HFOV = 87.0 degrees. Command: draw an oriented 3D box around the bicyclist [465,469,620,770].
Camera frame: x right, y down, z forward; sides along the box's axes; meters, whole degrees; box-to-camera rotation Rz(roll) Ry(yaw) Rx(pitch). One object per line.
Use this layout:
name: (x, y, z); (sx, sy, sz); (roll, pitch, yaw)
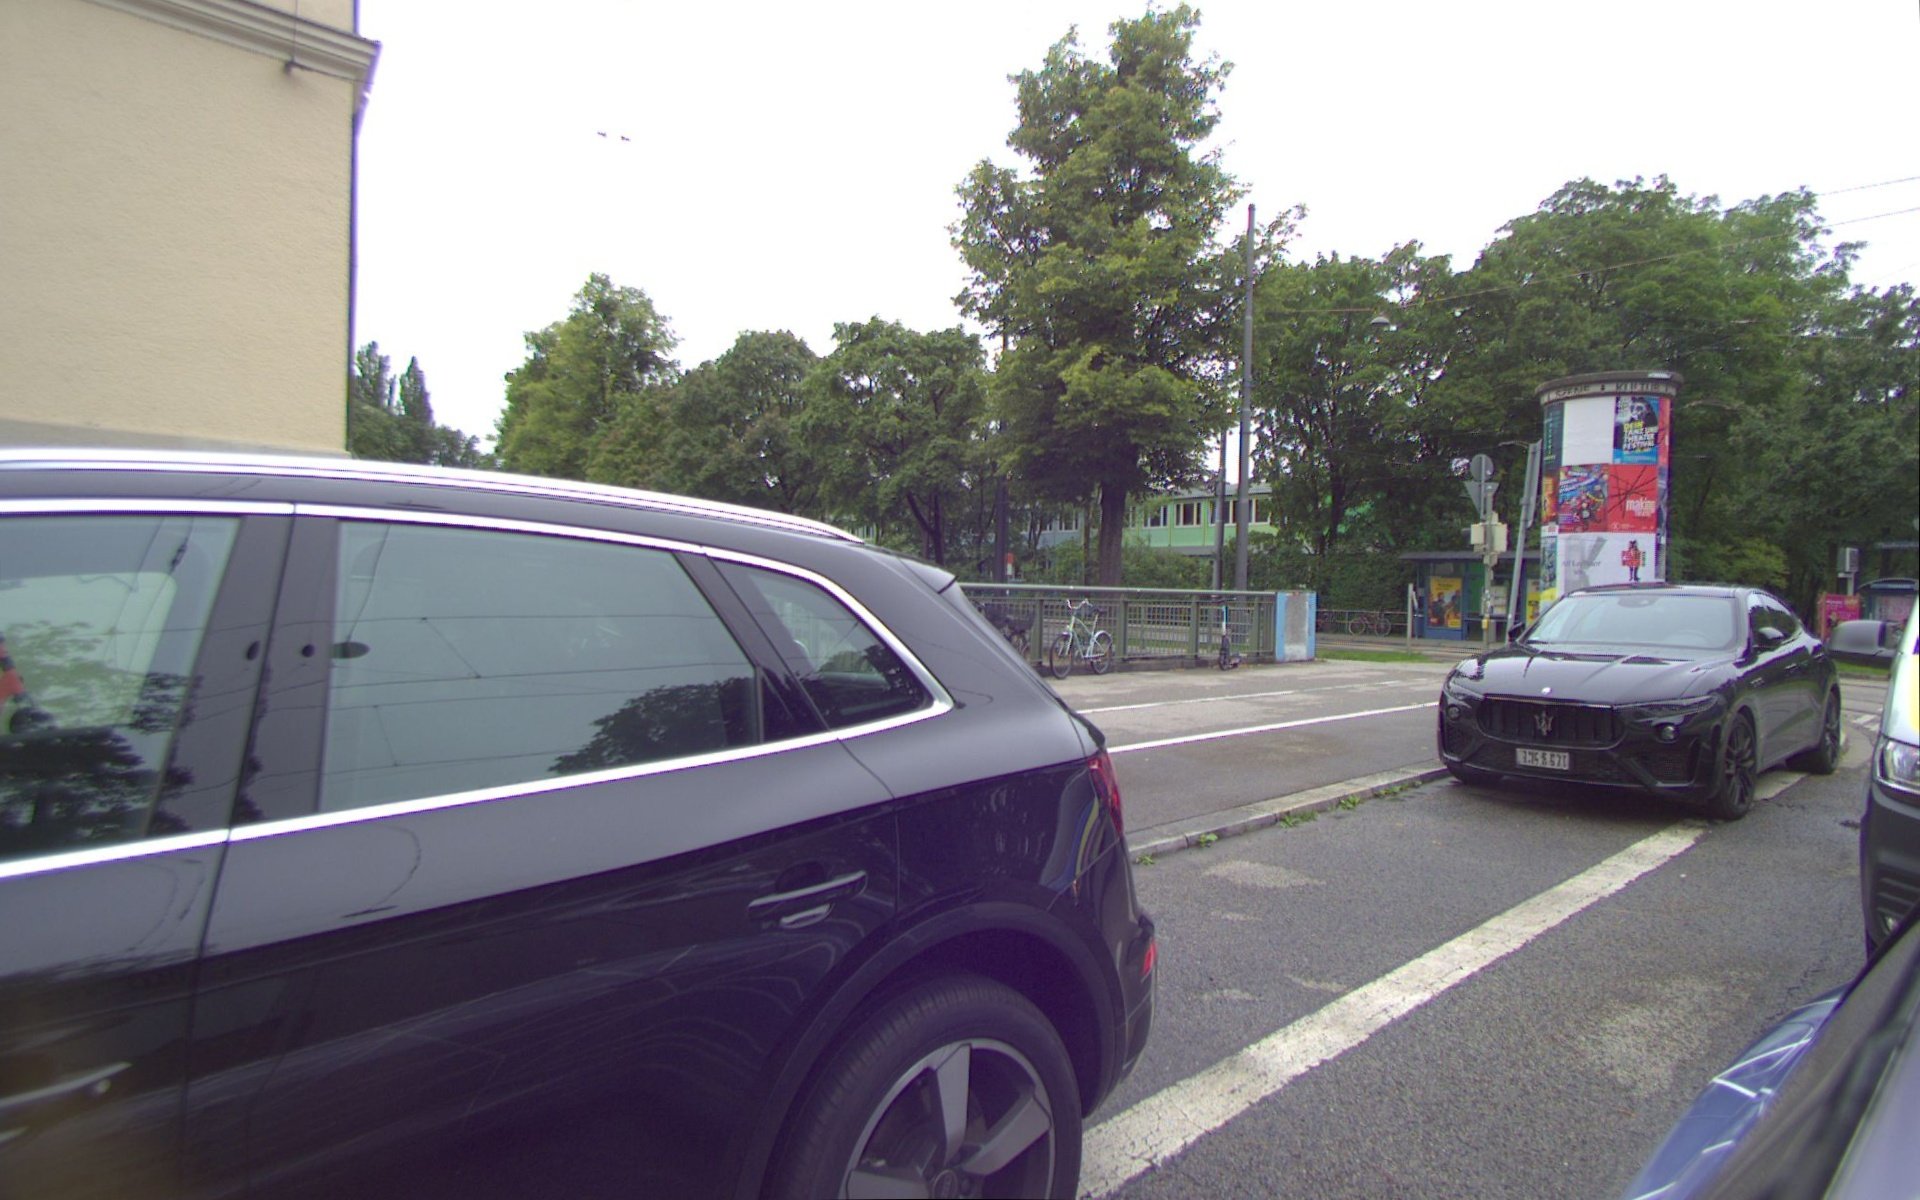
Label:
bicyclist: (-2.648, 0.111, 6.409); (0.714, 1.751, 0.725); (0, -1, -41)

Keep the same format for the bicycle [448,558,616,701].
bicycle: (-4.194, 0.273, 10.000); (1.511, 1.329, 0.332); (0, -1, -42)

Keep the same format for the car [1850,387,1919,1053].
car: (5.597, 0.397, 4.470); (5.612, 2.078, 1.901); (0, 1, -43)

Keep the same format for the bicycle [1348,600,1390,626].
bicycle: (15.406, 0.483, 38.179); (0.366, 0.964, 1.483); (0, 1, -38)

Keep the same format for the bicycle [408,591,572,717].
bicycle: (-4.450, 0.481, 9.663); (0.286, 1.120, 1.421); (1, 0, 42)

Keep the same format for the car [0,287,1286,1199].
car: (-1.437, 0.523, 1.762); (4.408, 1.679, 1.778); (0, 0, -40)

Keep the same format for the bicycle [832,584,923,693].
bicycle: (-1.011, 0.459, 12.667); (0.281, 1.298, 1.391); (-1, -1, 38)

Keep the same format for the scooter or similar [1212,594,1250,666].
scooter or similar: (4.739, 0.514, 17.672); (0.224, 1.227, 1.006); (-1, -1, 40)

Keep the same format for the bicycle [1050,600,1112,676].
bicycle: (1.843, 0.548, 15.232); (0.263, 1.096, 1.524); (-1, -1, 34)

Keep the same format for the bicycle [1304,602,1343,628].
bicycle: (14.317, 0.583, 39.865); (0.366, 0.964, 1.483); (0, 1, -38)

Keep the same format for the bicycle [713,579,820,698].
bicycle: (-2.211, 0.416, 11.693); (0.281, 1.298, 1.391); (-1, -1, 38)

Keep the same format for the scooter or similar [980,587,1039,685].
scooter or similar: (0.699, 0.470, 13.999); (0.242, 1.279, 1.482); (-1, 0, 27)

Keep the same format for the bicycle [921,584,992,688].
bicycle: (-0.030, 0.453, 13.352); (0.280, 1.298, 1.395); (-1, -1, 29)

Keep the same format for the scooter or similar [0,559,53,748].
scooter or similar: (-7.071, 0.379, 7.040); (1.122, 1.329, 0.261); (0, -1, -41)

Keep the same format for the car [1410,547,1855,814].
car: (5.759, 0.521, 8.423); (4.582, 1.630, 1.904); (1, -1, -40)

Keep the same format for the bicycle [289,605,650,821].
bicycle: (-2.921, 0.599, 6.170); (1.879, 1.091, 0.580); (0, 3, -42)
